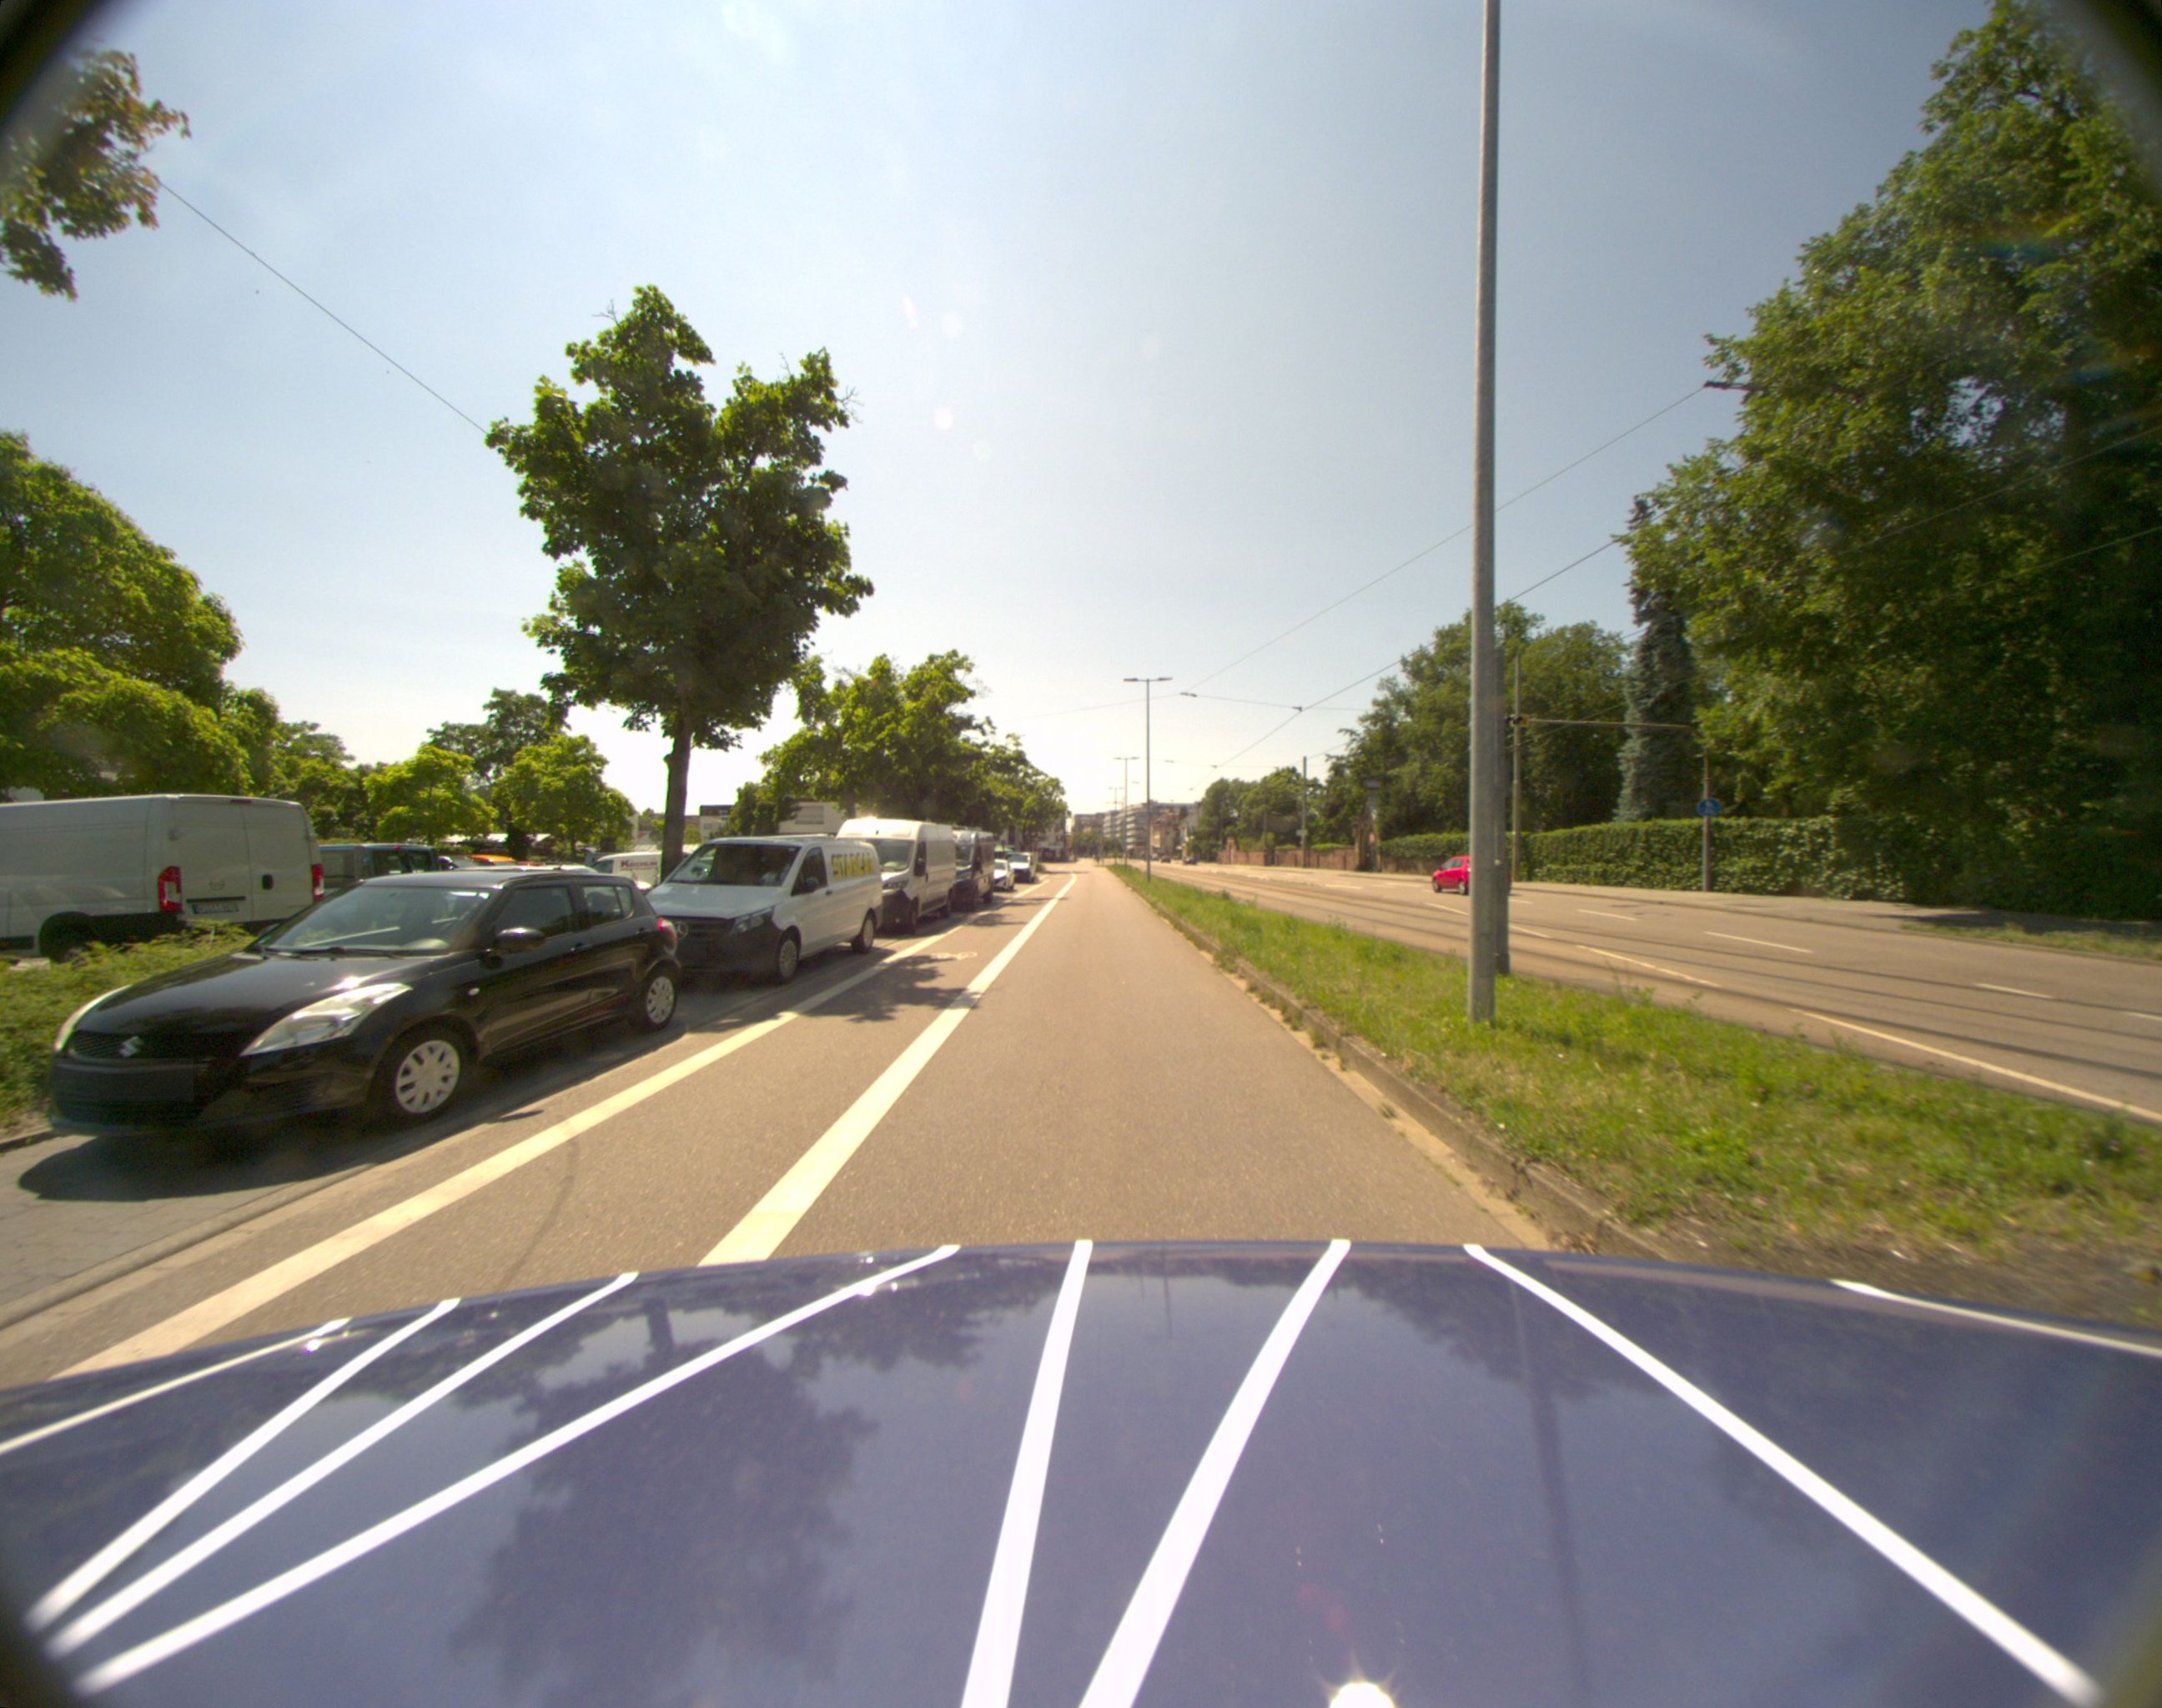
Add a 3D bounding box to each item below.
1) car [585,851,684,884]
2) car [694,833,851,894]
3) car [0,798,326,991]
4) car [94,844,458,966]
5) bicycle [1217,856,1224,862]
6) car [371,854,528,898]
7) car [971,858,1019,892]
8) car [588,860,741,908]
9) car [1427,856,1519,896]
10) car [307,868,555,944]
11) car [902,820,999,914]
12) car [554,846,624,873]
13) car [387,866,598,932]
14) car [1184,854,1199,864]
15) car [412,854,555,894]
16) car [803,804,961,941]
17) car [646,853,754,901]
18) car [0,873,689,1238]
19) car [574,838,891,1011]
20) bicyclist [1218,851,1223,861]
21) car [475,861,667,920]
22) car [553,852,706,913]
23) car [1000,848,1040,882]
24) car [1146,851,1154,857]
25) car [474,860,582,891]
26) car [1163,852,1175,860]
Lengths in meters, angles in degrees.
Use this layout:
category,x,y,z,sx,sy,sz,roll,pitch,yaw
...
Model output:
category,x,y,z,sx,sy,sz,roll,pitch,yaw
car,-27.179,0.804,46.373,4.929,1.889,1.908,1,1,0
car,-14.464,0.454,35.859,6.355,2.514,2.263,-3,1,4
car,-14.820,0.612,11.073,5.503,2.445,2.095,-3,1,2
car,-14.705,0.875,14.128,4.418,1.898,1.953,-3,1,-4
bicycle,20.898,0.720,113.598,0.654,0.951,2.114,-1,0,-1
car,-27.468,0.917,33.180,5.166,1.742,2.095,1,1,1
car,-4.030,0.942,36.210,1.726,1.419,4.209,2,0,1
car,-15.091,1.063,27.746,4.418,1.497,1.954,-3,0,-2
car,15.092,0.800,29.516,1.710,1.405,4.283,-1,0,5
car,-14.392,1.121,17.021,3.897,1.398,1.727,-3,1,-4
car,-4.056,0.367,24.785,2.002,2.621,6.078,2,0,0
car,-45.071,0.490,69.725,5.085,2.399,2.000,-1,0,0
car,-14.816,1.104,19.294,3.896,1.398,1.727,-3,1,-2
car,17.027,0.791,117.085,1.760,1.440,4.123,-2,0,2
car,-28.308,0.910,36.112,5.166,1.742,2.095,1,1,1
car,-4.394,0.364,17.999,2.002,2.621,6.142,2,0,0
car,-15.202,0.889,30.451,3.380,1.707,1.728,-3,1,1
car,-4.746,0.982,5.452,1.716,1.532,3.840,2,0,2
car,-4.577,0.787,11.153,2.002,1.867,5.276,2,0,2
bicyclist,20.899,0.323,113.622,0.654,1.488,0.662,-1,1,-1
car,-14.659,1.023,22.013,4.288,1.398,1.727,-3,1,-2
car,-14.848,0.894,25.148,3.790,1.774,1.953,-3,1,-4
car,-3.763,0.652,47.746,1.884,1.905,5.124,2,0,1
car,18.102,-0.030,199.516,1.845,1.546,4.465,0,0,0
car,-28.184,1.072,38.802,4.321,1.428,1.632,1,1,1
car,17.693,0.338,152.646,1.845,1.408,5.033,-3,0,1
